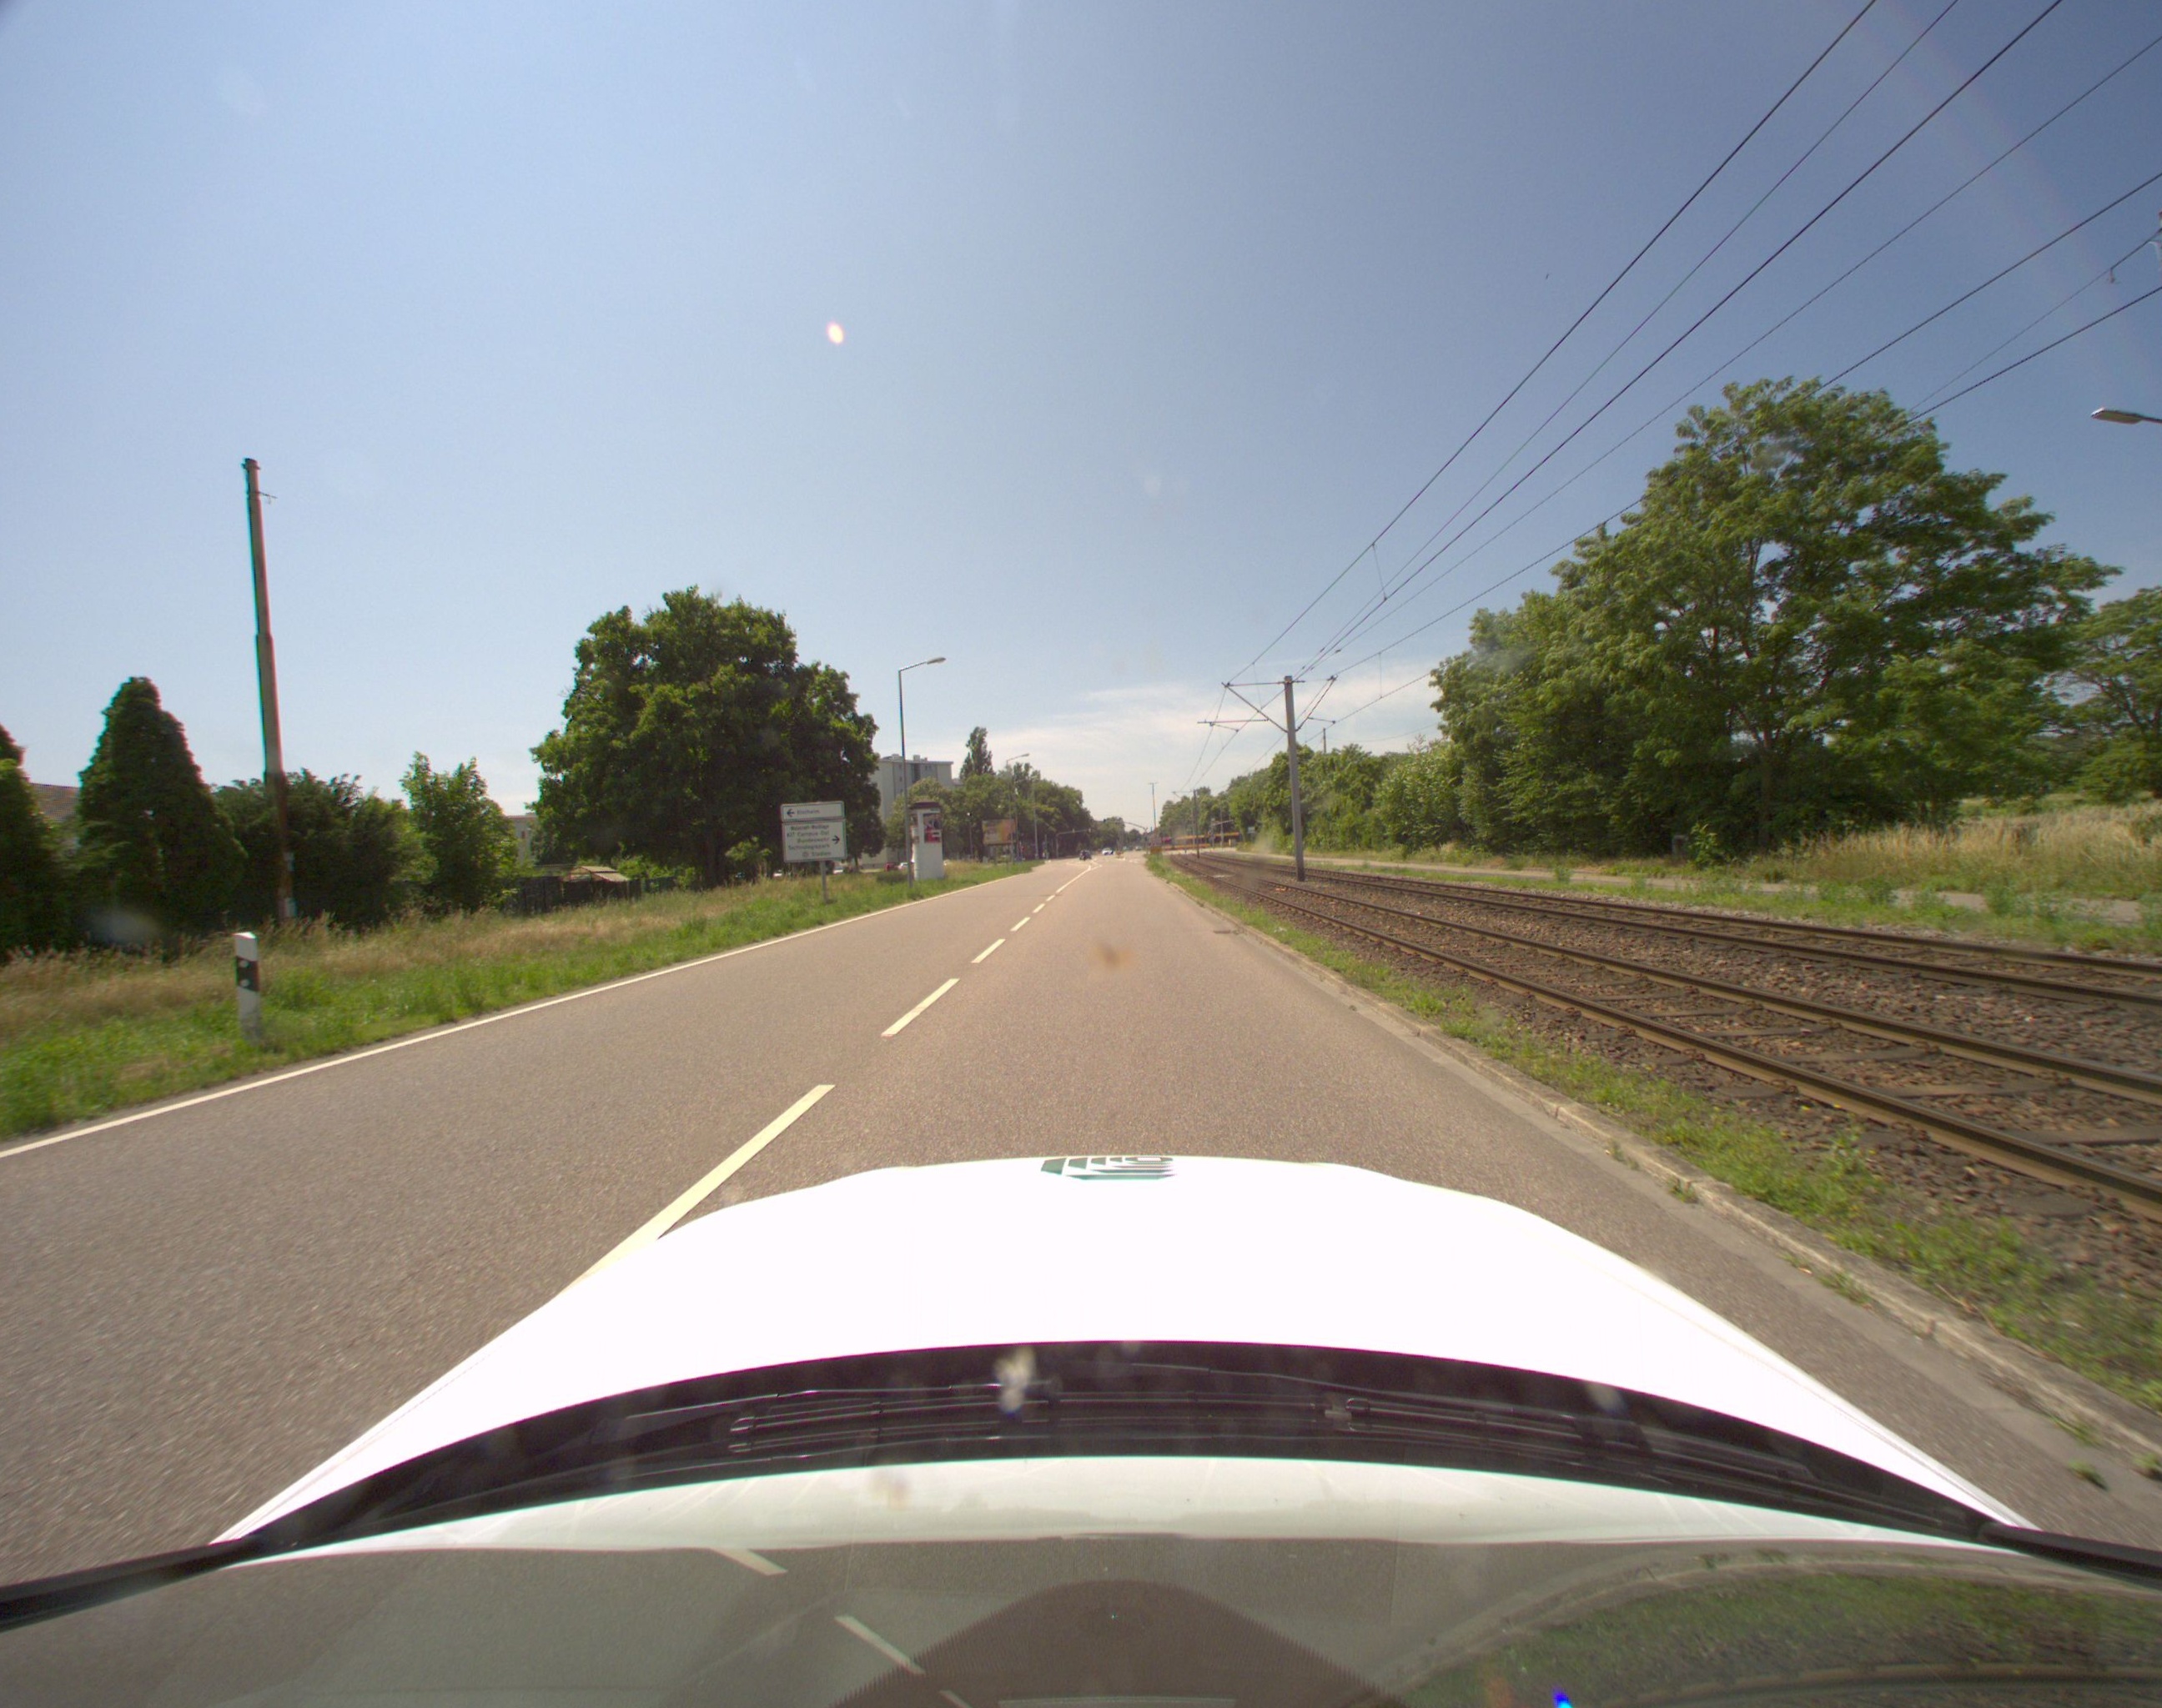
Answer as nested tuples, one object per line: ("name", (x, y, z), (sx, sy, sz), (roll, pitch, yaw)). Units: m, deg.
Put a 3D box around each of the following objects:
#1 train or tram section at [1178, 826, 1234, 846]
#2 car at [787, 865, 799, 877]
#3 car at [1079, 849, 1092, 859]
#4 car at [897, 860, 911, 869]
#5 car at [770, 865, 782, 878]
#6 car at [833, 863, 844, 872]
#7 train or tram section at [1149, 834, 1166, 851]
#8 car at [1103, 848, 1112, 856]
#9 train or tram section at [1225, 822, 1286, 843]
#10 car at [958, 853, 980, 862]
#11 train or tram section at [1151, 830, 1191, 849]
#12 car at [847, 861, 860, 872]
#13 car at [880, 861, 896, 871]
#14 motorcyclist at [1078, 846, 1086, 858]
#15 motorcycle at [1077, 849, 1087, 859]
("train or tram section", (30.460, -4.284, 199.484), (13.861, 3.919, 2.942), (-4, -3, 40))
("car", (-49.974, 2.891, 141.401), (1.852, 1.947, 3.974), (-3, 0, -19))
("car", (0.732, -0.014, 129.429), (1.899, 1.499, 4.632), (-2, 0, 2))
("car", (-32.293, 1.958, 148.565), (1.712, 1.592, 3.969), (-3, 0, -23))
("car", (-52.760, 3.011, 140.975), (1.852, 1.947, 3.974), (-3, 0, -19))
("car", (-43.033, 2.402, 144.720), (1.693, 1.562, 3.814), (-4, 0, -18))
("train or tram section", (20.405, -3.032, 218.580), (2.906, 3.812, 13.064), (-2, -2, -1))
("car", (5.994, -0.532, 182.668), (1.777, 1.628, 3.869), (-4, 0, 4))
("train or tram section", (41.458, -5.015, 193.596), (13.810, 3.919, 2.936), (-3, -3, 17))
("car", (-24.174, 0.698, 176.450), (1.769, 1.768, 4.577), (-3, 0, 43))
("train or tram section", (22.936, -3.563, 208.072), (2.931, 3.812, 13.330), (-1, -3, -28))
("car", (-40.803, 2.234, 145.935), (1.852, 1.711, 3.974), (-3, 1, -19))
("car", (-34.986, 2.130, 147.763), (1.856, 1.668, 3.965), (-4, 0, -27))
("motorcyclist", (0.158, -0.296, 114.130), (0.784, 1.642, 1.215), (-2, 0, 13))
("motorcycle", (0.164, -0.014, 114.054), (0.841, 1.255, 2.458), (-2, 0, 14))
